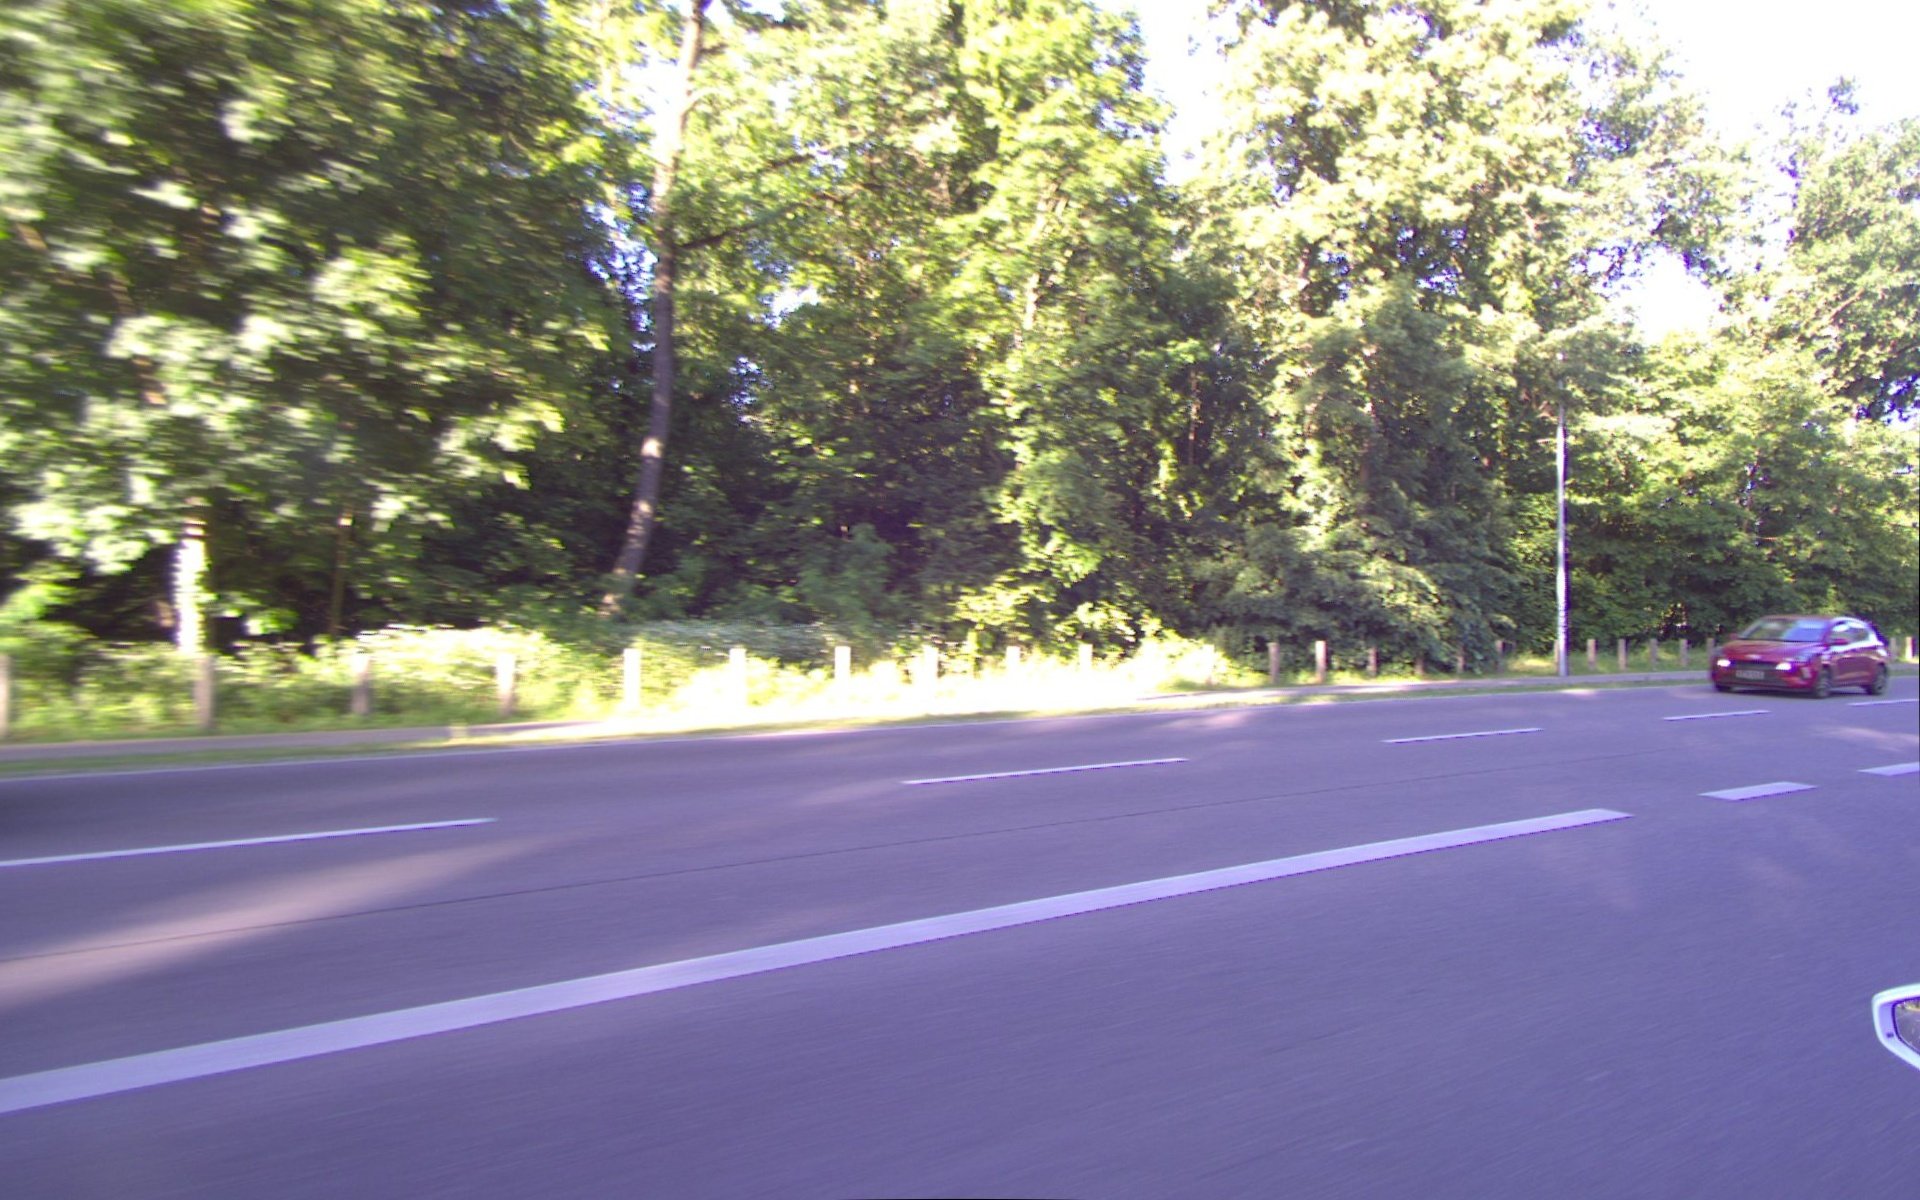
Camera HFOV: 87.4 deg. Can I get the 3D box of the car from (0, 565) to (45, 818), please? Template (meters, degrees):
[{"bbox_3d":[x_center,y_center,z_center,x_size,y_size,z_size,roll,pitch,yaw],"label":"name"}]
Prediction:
[{"bbox_3d":[-7.703,0.537,4.995,4.346,1.542,1.774,1,-1,-31],"label":"car"}]

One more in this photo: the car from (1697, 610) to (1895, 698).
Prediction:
[{"bbox_3d":[15.989,0.973,19.190,3.760,1.538,1.656,1,-1,-29],"label":"car"}]
